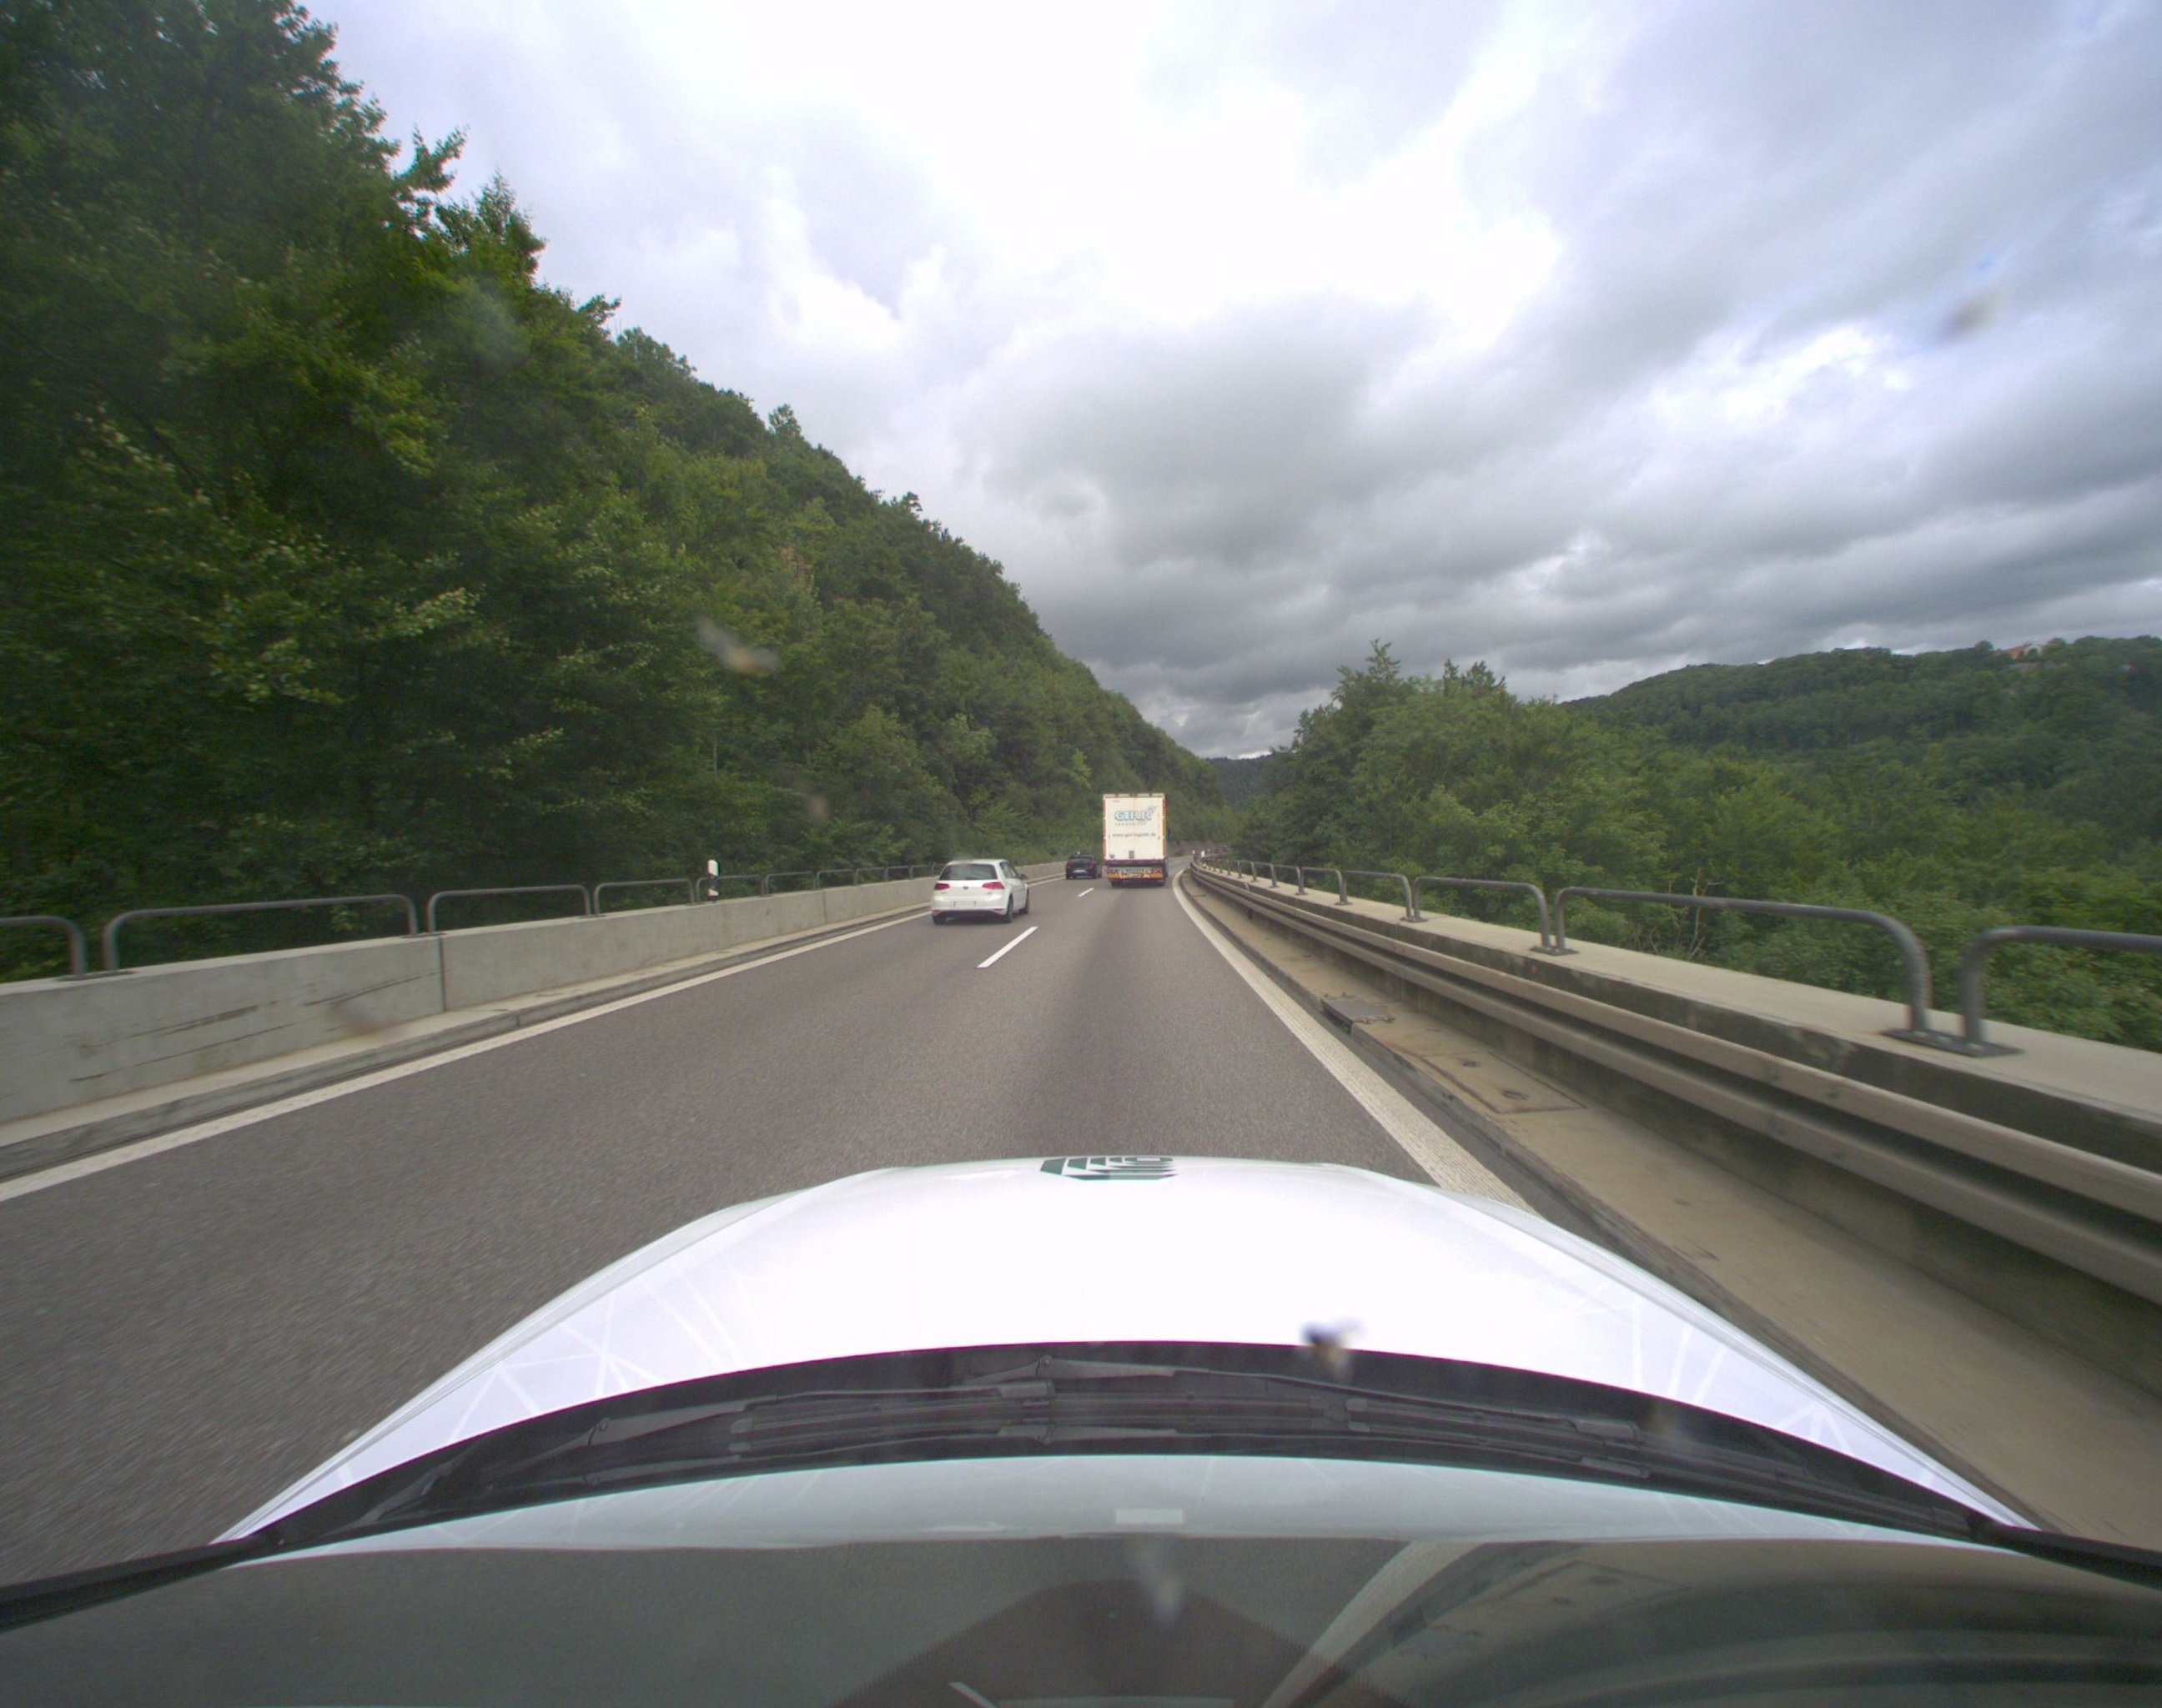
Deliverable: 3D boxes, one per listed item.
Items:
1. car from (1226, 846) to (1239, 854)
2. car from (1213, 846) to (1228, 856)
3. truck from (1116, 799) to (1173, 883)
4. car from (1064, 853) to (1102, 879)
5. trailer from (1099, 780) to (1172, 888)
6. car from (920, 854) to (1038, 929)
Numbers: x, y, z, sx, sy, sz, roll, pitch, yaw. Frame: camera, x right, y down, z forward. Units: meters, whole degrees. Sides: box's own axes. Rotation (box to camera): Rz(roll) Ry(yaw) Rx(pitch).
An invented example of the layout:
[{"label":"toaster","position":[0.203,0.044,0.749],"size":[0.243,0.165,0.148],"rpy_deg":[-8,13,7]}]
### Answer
[{"label":"car","position":[33.793,-0.907,181.660],"size":[1.977,1.783,4.020],"rpy_deg":[-1,0,20]},{"label":"car","position":[24.530,-0.541,142.881],"size":[1.978,1.565,4.018],"rpy_deg":[-2,-1,17]},{"label":"truck","position":[3.674,-0.664,46.022],"size":[2.799,4.302,6.270],"rpy_deg":[-2,-1,6]},{"label":"car","position":[0.168,0.691,47.913],"size":[1.764,1.461,4.589],"rpy_deg":[-2,-1,6]},{"label":"trailer","position":[2.911,-0.735,39.547],"size":[2.799,4.302,12.266],"rpy_deg":[-2,-1,7]},{"label":"car","position":[-2.289,0.796,19.565],"size":[1.836,1.481,4.634],"rpy_deg":[-2,0,4]}]
